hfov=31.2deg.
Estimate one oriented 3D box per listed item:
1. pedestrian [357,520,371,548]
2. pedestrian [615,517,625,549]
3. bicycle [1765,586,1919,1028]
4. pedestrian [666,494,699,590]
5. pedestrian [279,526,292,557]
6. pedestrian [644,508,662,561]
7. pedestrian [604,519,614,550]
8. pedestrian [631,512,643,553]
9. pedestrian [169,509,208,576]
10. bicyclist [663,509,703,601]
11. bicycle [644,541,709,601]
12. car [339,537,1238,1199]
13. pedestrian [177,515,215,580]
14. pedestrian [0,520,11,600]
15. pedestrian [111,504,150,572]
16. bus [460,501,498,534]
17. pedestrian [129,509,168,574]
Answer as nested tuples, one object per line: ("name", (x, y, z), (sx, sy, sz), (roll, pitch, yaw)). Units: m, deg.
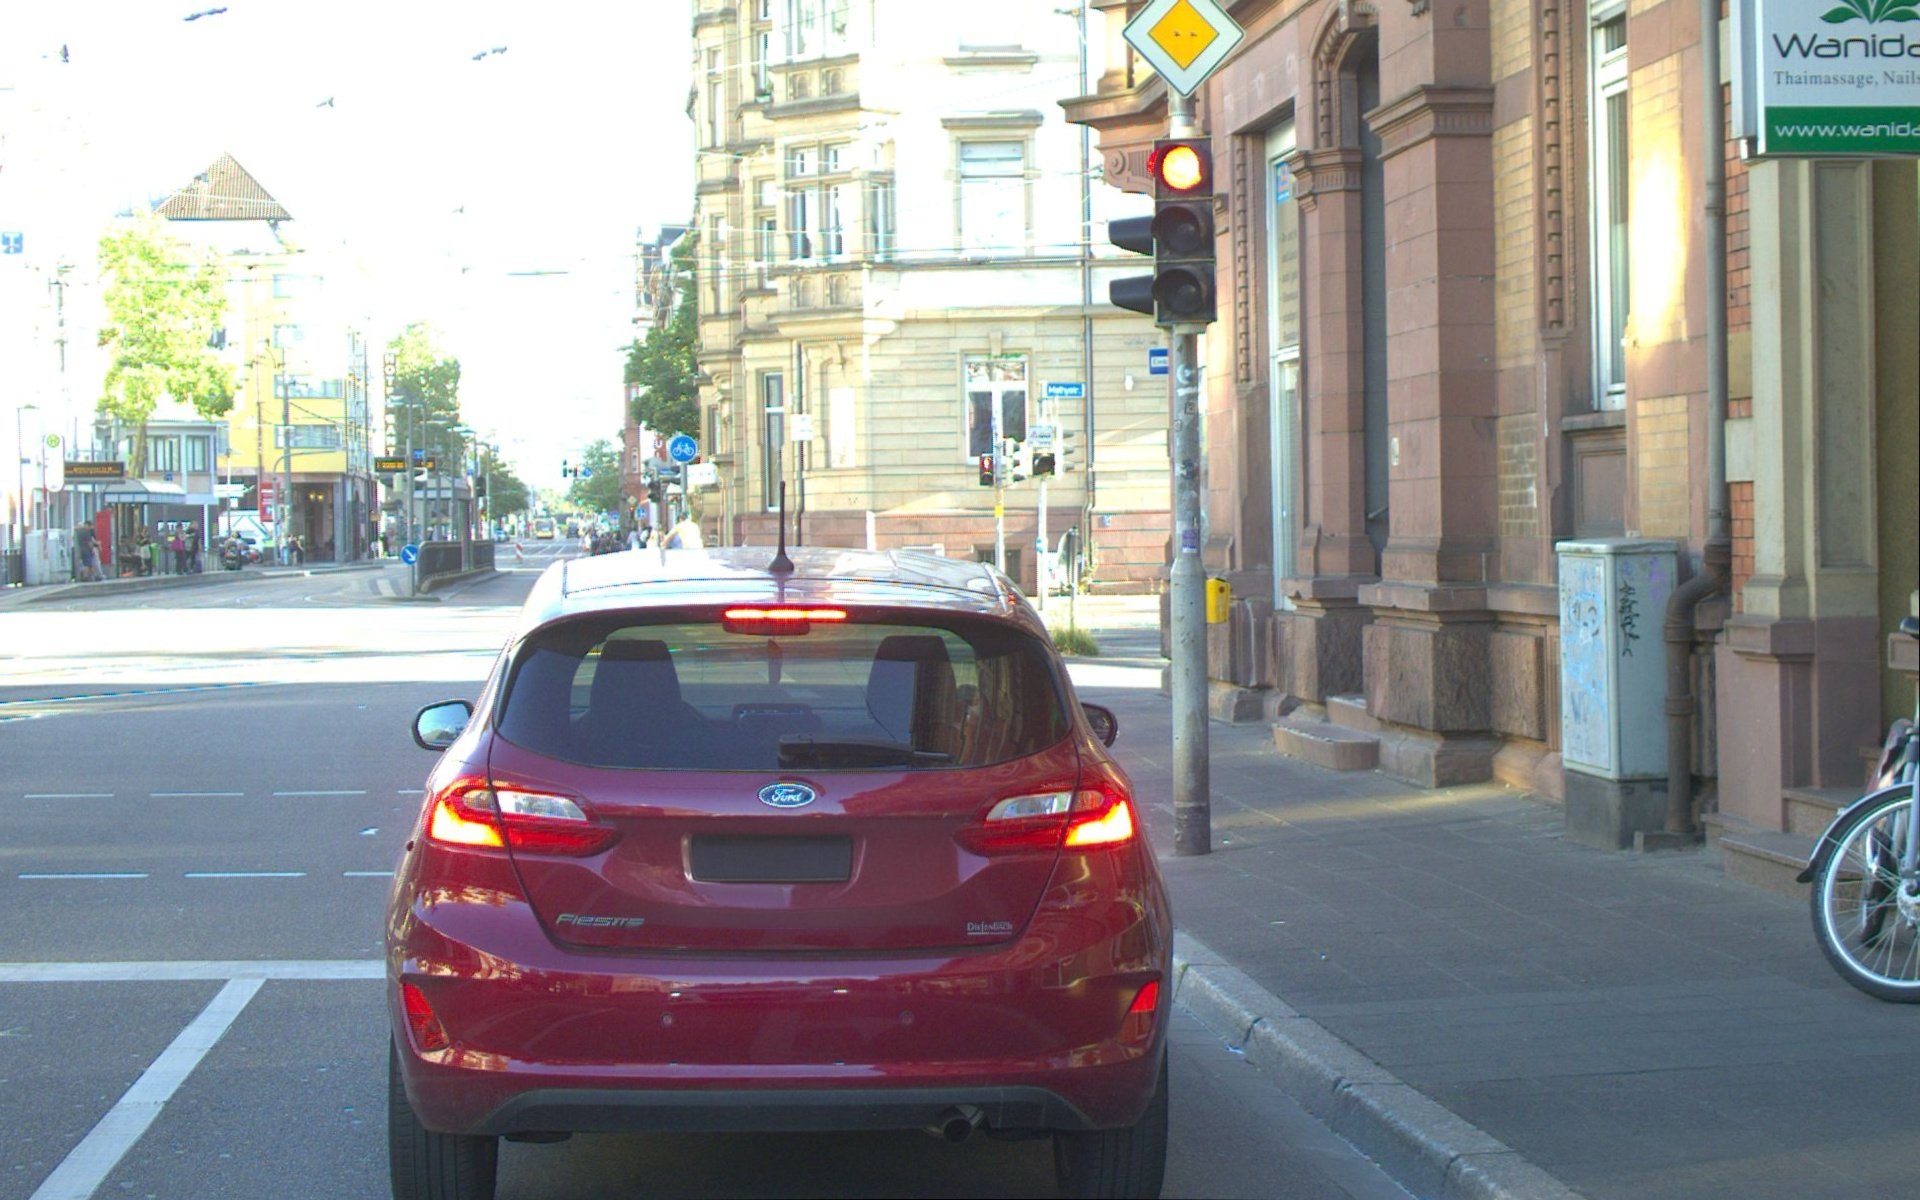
("pedestrian", (-34.363, -3.820, 198.228), (0.628, 1.599, 0.579), (-1, 1, -22))
("pedestrian", (-20.042, -3.933, 202.639), (0.577, 1.880, 0.631), (-1, 1, -5))
("bicycle", (2.778, 0.564, 10.179), (0.716, 1.148, 1.654), (-2, 1, 13))
("pedestrian", (-5.923, -1.238, 73.251), (0.651, 2.007, 0.760), (-1, 1, -6))
("pedestrian", (-33.062, -2.865, 168.541), (0.524, 1.483, 0.583), (-1, 1, -4))
("pedestrian", (-11.605, -2.473, 129.968), (0.577, 2.007, 0.631), (-1, 1, 1))
("pedestrian", (-21.088, -3.942, 206.341), (0.577, 1.880, 0.670), (-1, 1, -5))
("pedestrian", (-16.235, -3.393, 172.919), (0.577, 2.007, 0.631), (-1, 1, -5))
("pedestrian", (-23.556, -1.763, 104.946), (1.045, 2.007, 0.959), (-1, 1, -8))
("bicyclist", (-5.094, -0.834, 63.197), (0.499, 1.670, 0.545), (-2, 1, -34))
("bicycle", (-5.239, -0.546, 63.426), (0.526, 1.085, 1.486), (-2, 2, -34))
("car", (-0.582, 0.584, 8.697), (1.753, 1.461, 3.946), (0, 1, -8))
("pedestrian", (-23.829, -1.640, 107.211), (1.045, 2.007, 0.959), (-1, 1, -8))
("pedestrian", (-21.084, -0.860, 74.700), (0.768, 1.724, 0.573), (-1, 1, -3))
("pedestrian", (-24.748, -1.851, 102.533), (0.956, 2.007, 1.049), (-1, 1, -5))
("bus", (-30.559, -5.247, 218.654), (1.925, 2.007, 7.138), (-1, 1, -4))
("pedestrian", (-25.155, -1.813, 106.591), (1.045, 2.007, 0.959), (-1, 1, -8))
